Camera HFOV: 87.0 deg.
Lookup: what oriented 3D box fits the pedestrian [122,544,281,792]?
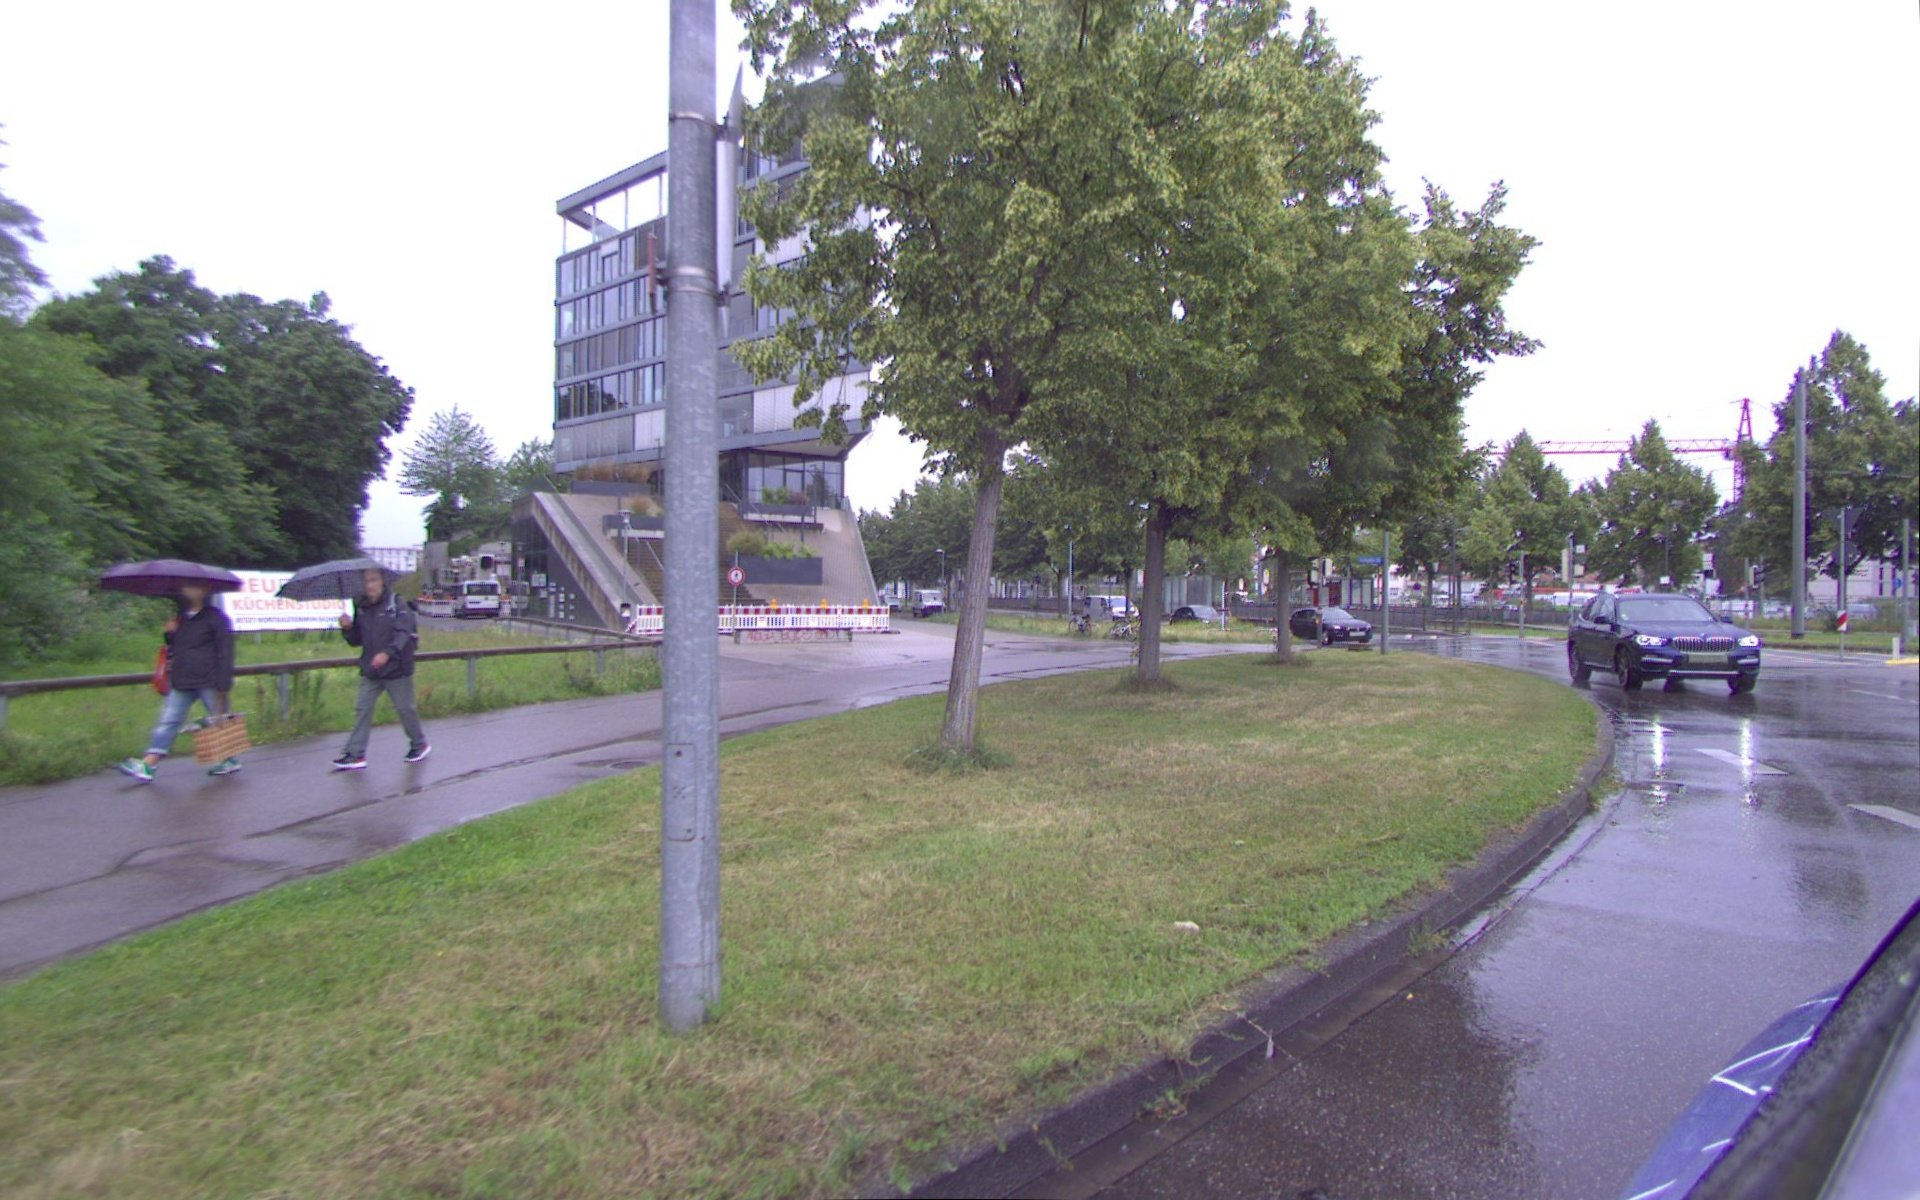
[{"bbox_3d":[-5.960,0.486,7.953,0.920,1.806,0.796,-1,1,42],"label":"pedestrian"}]

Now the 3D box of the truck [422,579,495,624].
[{"bbox_3d":[-31.056,0.075,62.390,2.303,2.487,10.777,-3,1,-36],"label":"truck"}]

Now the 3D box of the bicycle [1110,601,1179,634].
[{"bbox_3d":[6.909,0.640,37.948,2.502,1.204,0.548,0,0,29],"label":"bicycle"}]

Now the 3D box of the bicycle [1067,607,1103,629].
[{"bbox_3d":[4.964,0.711,40.345,0.623,0.857,2.168,0,0,-16],"label":"bicycle"}]

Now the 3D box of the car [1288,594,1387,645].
[{"bbox_3d":[14.725,0.719,39.723,1.880,1.768,4.388,-2,1,-5],"label":"car"}]

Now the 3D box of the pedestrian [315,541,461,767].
[{"bbox_3d":[-4.913,0.424,8.688,0.920,1.806,0.796,-1,1,42],"label":"pedestrian"}]

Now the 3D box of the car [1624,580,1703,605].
[{"bbox_3d":[75.552,-0.820,108.862,2.449,2.507,6.851,-2,1,-17],"label":"car"}]

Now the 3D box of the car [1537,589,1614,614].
[{"bbox_3d":[67.843,0.121,111.827,2.308,2.507,7.655,-2,1,-17],"label":"car"}]

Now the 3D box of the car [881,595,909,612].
[{"bbox_3d":[-6.696,0.333,104.009,1.958,1.571,4.008,-2,1,-18],"label":"car"}]

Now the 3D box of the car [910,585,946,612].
[{"bbox_3d":[-2.769,-0.163,87.061,2.043,2.229,5.107,-2,1,-13],"label":"car"}]

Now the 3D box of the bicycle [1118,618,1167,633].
[{"bbox_3d":[6.783,0.948,37.735,1.786,0.566,0.318,0,0,29],"label":"bicycle"}]

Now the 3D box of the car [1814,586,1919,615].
[{"bbox_3d":[81.246,0.007,90.712,2.308,2.508,6.847,0,0,-26],"label":"car"}]

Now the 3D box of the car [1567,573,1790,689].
[{"bbox_3d":[12.554,0.455,18.058,1.891,1.768,4.360,-2,1,17],"label":"car"}]

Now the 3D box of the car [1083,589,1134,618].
[{"bbox_3d":[9.126,0.181,62.461,1.752,1.668,4.008,-2,1,-13],"label":"car"}]
